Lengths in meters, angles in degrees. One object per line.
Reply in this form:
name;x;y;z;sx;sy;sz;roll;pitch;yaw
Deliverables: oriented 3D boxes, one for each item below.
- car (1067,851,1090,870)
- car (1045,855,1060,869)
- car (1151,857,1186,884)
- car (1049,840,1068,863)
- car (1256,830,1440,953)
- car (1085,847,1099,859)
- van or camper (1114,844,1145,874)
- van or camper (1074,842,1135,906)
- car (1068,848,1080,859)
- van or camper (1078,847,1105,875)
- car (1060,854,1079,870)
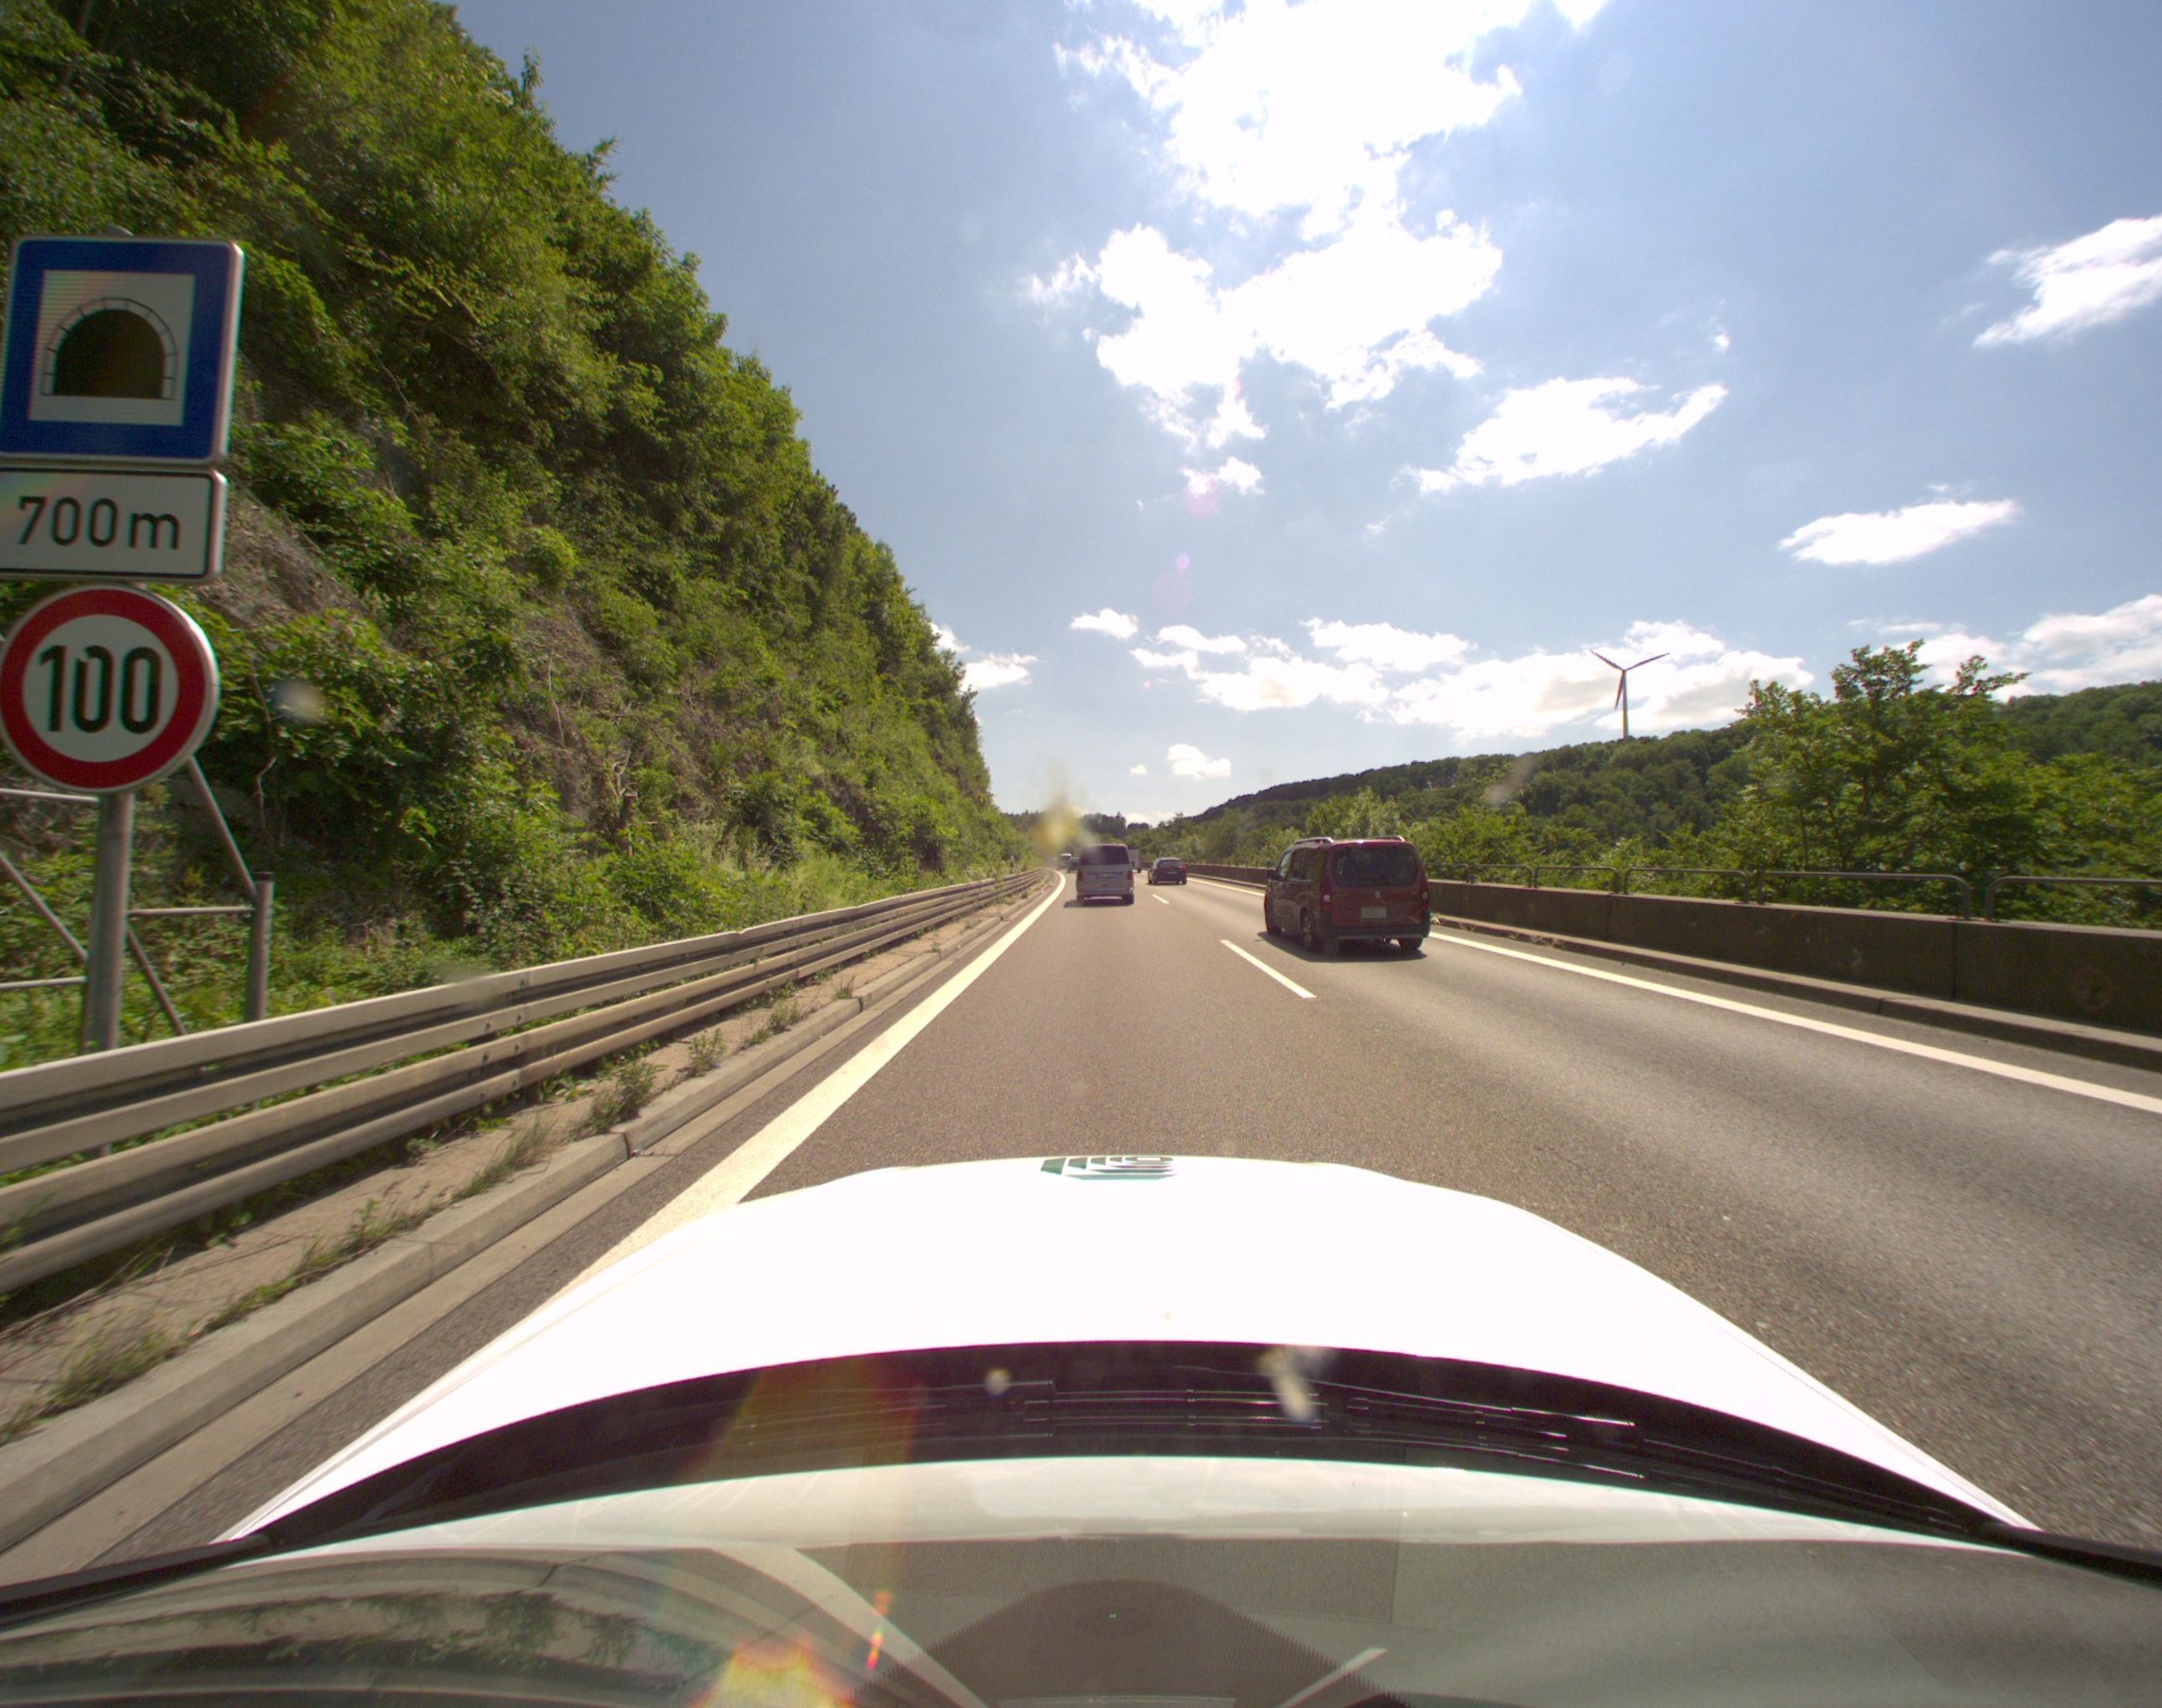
car;-0.275;0.633;79.613;1.990;1.817;3.994;-1;0;-4
car;-4.139;1.139;117.710;1.991;1.915;3.992;-1;0;-6
car;4.757;0.879;44.462;1.761;1.376;3.596;0;0;4
car;-5.138;-0.547;182.812;4.035;4.871;10.096;0;0;-3
car;4.475;0.594;14.465;1.826;1.784;4.677;-2;-1;2
car;1.865;-0.223;140.991;1.990;2.013;3.994;-1;0;-5
van or camper;4.357;0.490;73.885;2.258;2.551;4.732;-2;-1;-2
van or camper;0.770;0.642;27.704;1.869;1.949;4.294;-2;0;0
car;-1.306;-0.083;153.684;1.990;2.013;3.994;-1;0;-4
van or camper;1.389;0.955;113.333;3.269;3.789;8.100;0;0;-4
car;-1.320;0.912;95.419;1.986;1.817;4.001;-1;0;1
